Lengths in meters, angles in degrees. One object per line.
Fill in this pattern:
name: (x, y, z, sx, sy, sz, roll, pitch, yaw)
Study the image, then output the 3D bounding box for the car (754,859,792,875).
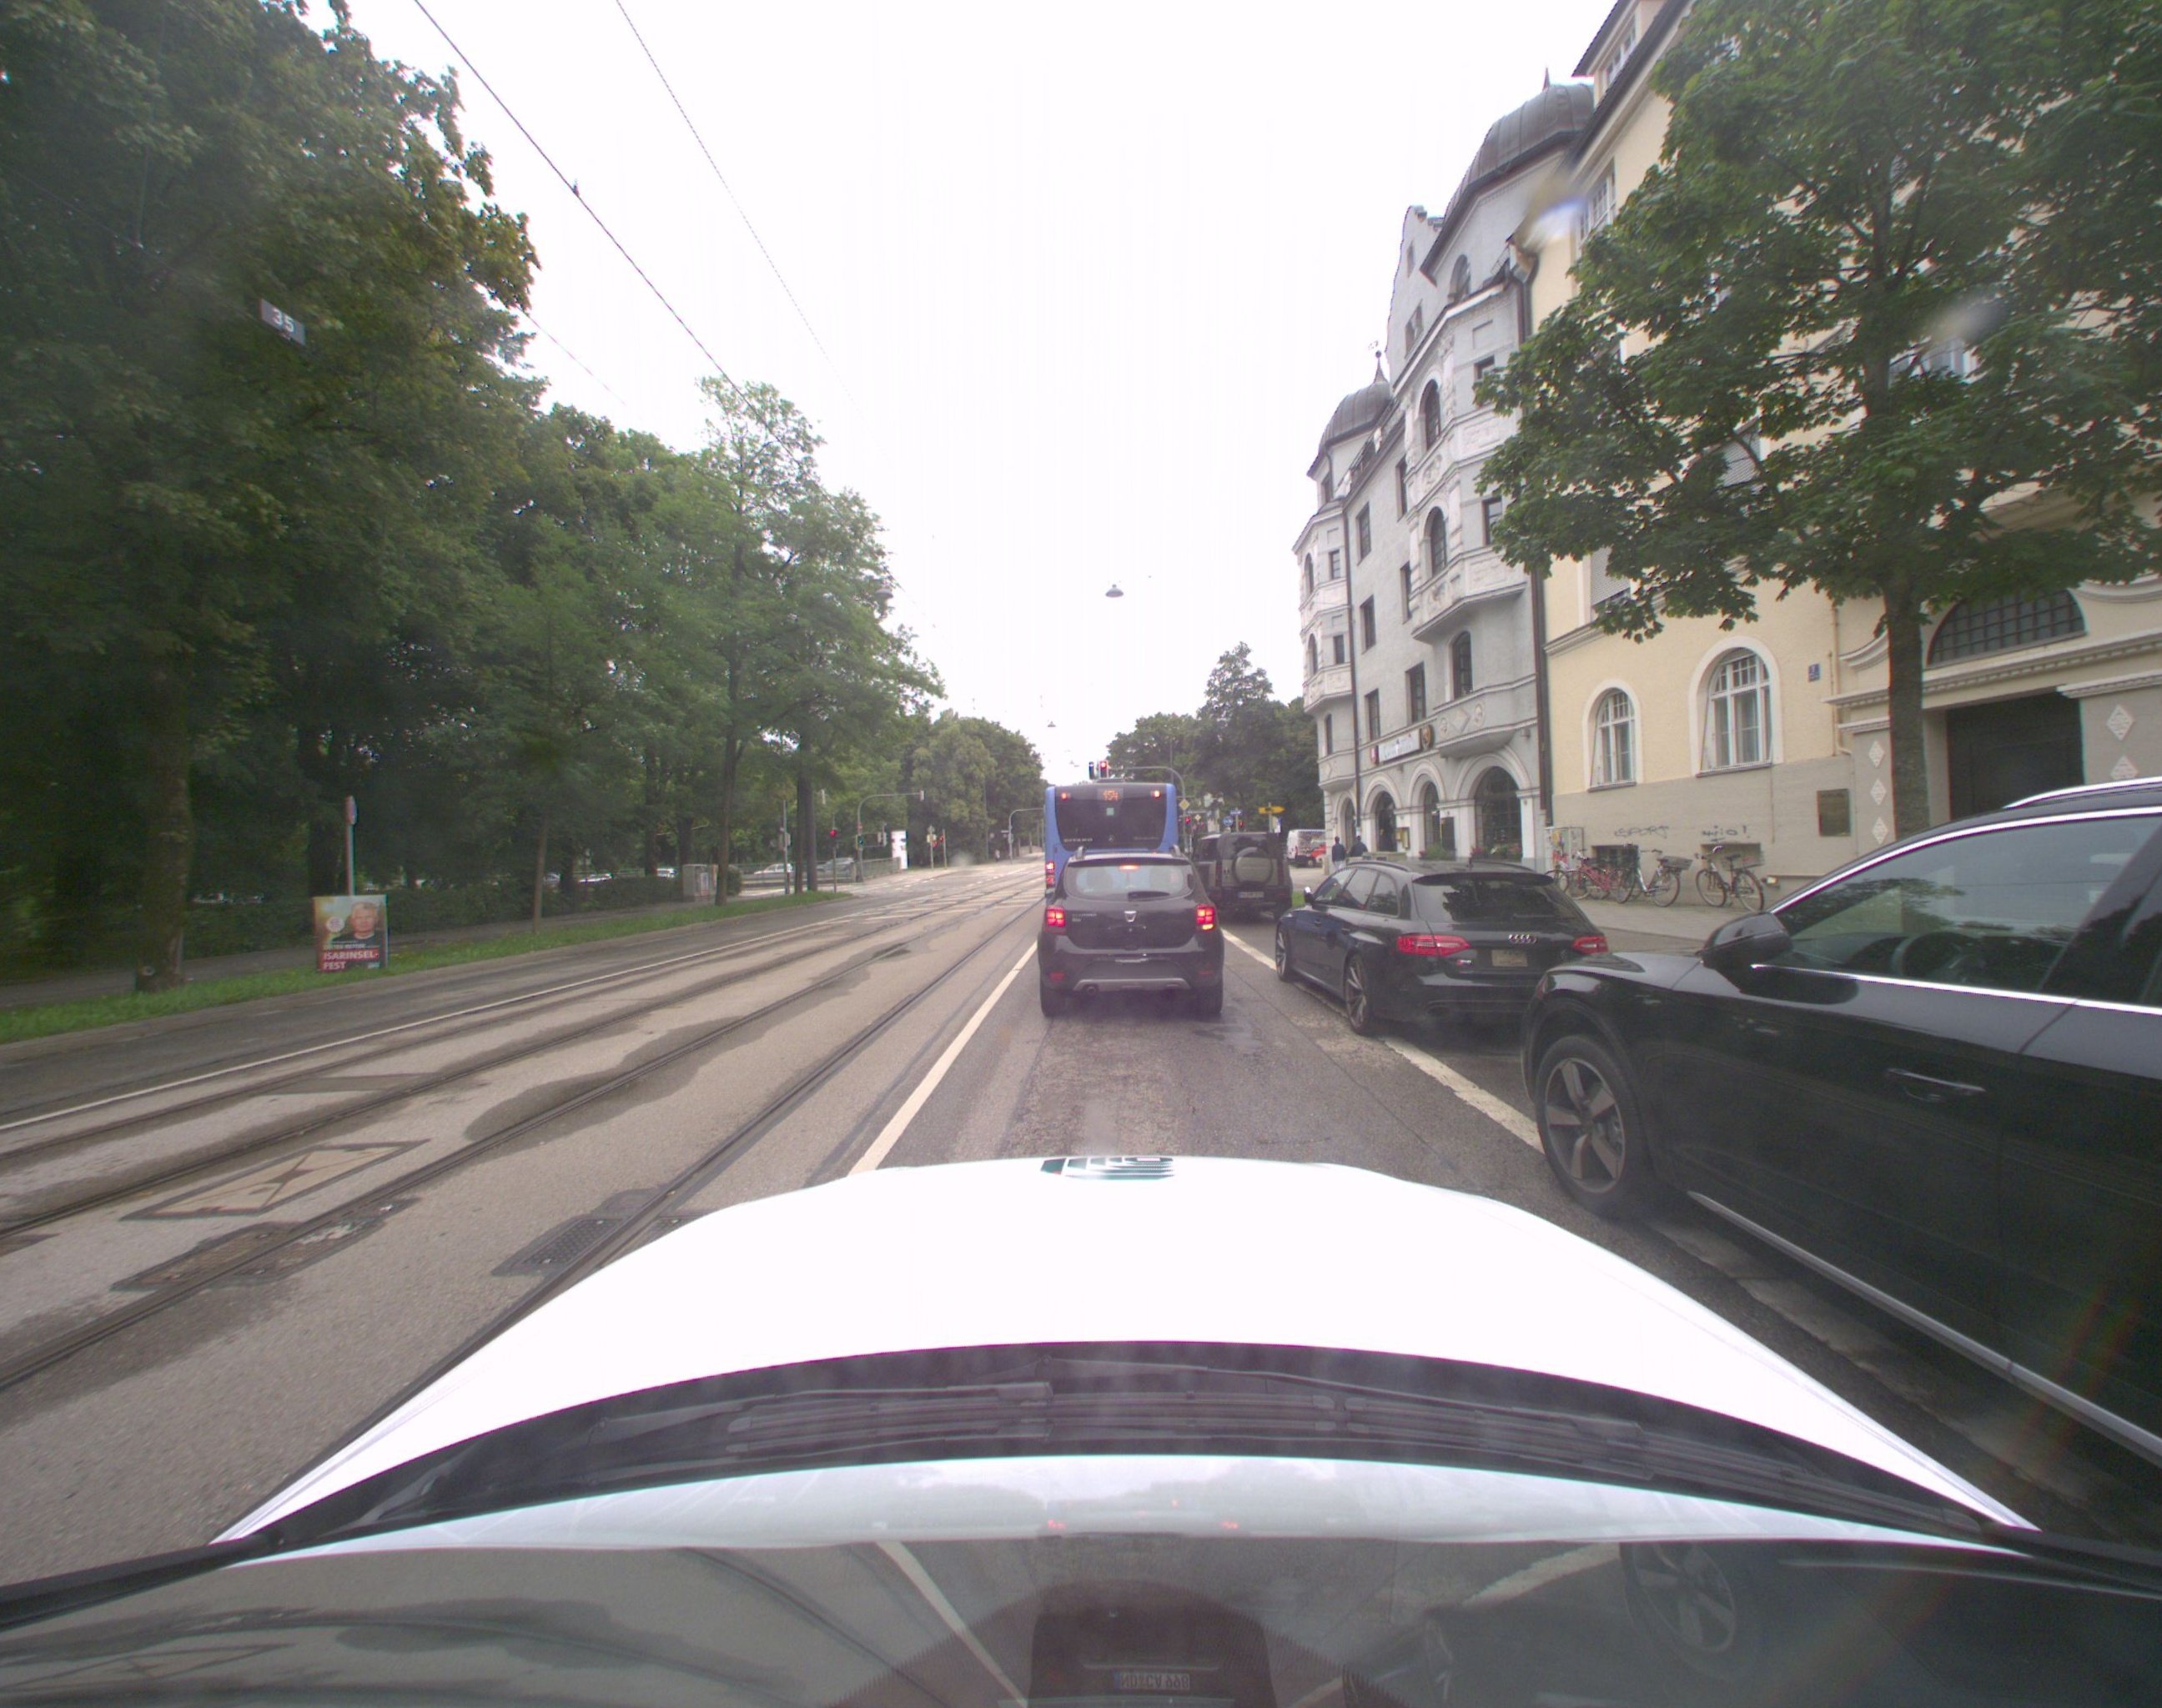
car: (-28.567, 1.240, 75.603, 3.103, 1.452, 1.249, 0, 0, -4)

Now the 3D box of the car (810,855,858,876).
car: (-23.048, 1.075, 75.960, 4.016, 1.887, 1.488, 0, 0, -5)

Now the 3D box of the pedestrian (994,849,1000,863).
pedestrian: (-9.437, 0.212, 91.029, 0.529, 1.501, 0.589, -1, -1, 6)

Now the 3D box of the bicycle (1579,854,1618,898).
bicycle: (11.248, 0.463, 17.713, 0.304, 0.930, 0.886, -1, 0, 3)

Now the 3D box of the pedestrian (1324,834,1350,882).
pedestrian: (9.812, 0.168, 31.241, 0.702, 1.816, 0.870, 0, -1, 2)

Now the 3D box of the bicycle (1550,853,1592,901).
bicycle: (10.870, 0.497, 18.092, 0.241, 1.039, 1.224, 0, 0, 2)

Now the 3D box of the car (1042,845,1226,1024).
car: (0.501, 0.713, 8.884, 1.595, 1.556, 3.526, 0, 0, 1)

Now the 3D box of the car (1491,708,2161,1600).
car: (2.899, 0.548, 1.887, 1.767, 1.658, 4.490, -1, 0, 2)

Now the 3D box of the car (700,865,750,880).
car: (-32.955, 1.708, 75.474, 3.915, 1.404, 1.719, 0, 0, -3)

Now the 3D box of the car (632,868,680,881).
car: (-39.206, 1.900, 75.220, 3.720, 1.185, 1.249, 0, 0, -4)

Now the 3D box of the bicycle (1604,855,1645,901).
bicycle: (11.158, 0.482, 16.744, 0.271, 0.930, 0.886, -1, 0, 3)

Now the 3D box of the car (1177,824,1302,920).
car: (3.438, 0.372, 18.623, 1.908, 1.906, 4.806, 0, 0, 0)

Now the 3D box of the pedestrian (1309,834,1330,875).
pedestrian: (11.819, 0.016, 40.414, 0.719, 2.014, 0.668, 0, -1, -33)

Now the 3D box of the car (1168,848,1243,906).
car: (3.632, 0.637, 24.416, 1.708, 1.591, 4.329, -1, 0, 2)

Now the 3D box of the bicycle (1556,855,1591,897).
bicycle: (11.287, 0.498, 18.673, 0.289, 0.930, 0.886, -1, 0, 3)

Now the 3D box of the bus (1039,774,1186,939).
bus: (0.587, 0.062, 18.395, 2.670, 2.997, 6.959, 0, 0, 0)

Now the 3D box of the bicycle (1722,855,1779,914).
bicycle: (11.049, 0.487, 13.463, 0.220, 0.930, 0.886, 0, 0, 1)

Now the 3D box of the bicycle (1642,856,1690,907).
bicycle: (11.058, 0.501, 15.408, 0.284, 0.930, 0.886, -1, 0, 3)

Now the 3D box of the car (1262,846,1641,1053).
car: (3.093, 0.677, 7.985, 1.710, 1.426, 4.603, 0, 0, 1)

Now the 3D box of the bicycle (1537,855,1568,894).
bicycle: (11.339, 0.488, 19.610, 0.258, 0.930, 0.886, -1, 0, 3)

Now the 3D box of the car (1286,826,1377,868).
car: (16.273, -0.429, 53.113, 5.281, 2.612, 2.229, 0, 0, -2)

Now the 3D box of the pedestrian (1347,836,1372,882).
pedestrian: (10.632, 0.194, 31.103, 0.702, 1.732, 0.843, 0, -1, 1)
